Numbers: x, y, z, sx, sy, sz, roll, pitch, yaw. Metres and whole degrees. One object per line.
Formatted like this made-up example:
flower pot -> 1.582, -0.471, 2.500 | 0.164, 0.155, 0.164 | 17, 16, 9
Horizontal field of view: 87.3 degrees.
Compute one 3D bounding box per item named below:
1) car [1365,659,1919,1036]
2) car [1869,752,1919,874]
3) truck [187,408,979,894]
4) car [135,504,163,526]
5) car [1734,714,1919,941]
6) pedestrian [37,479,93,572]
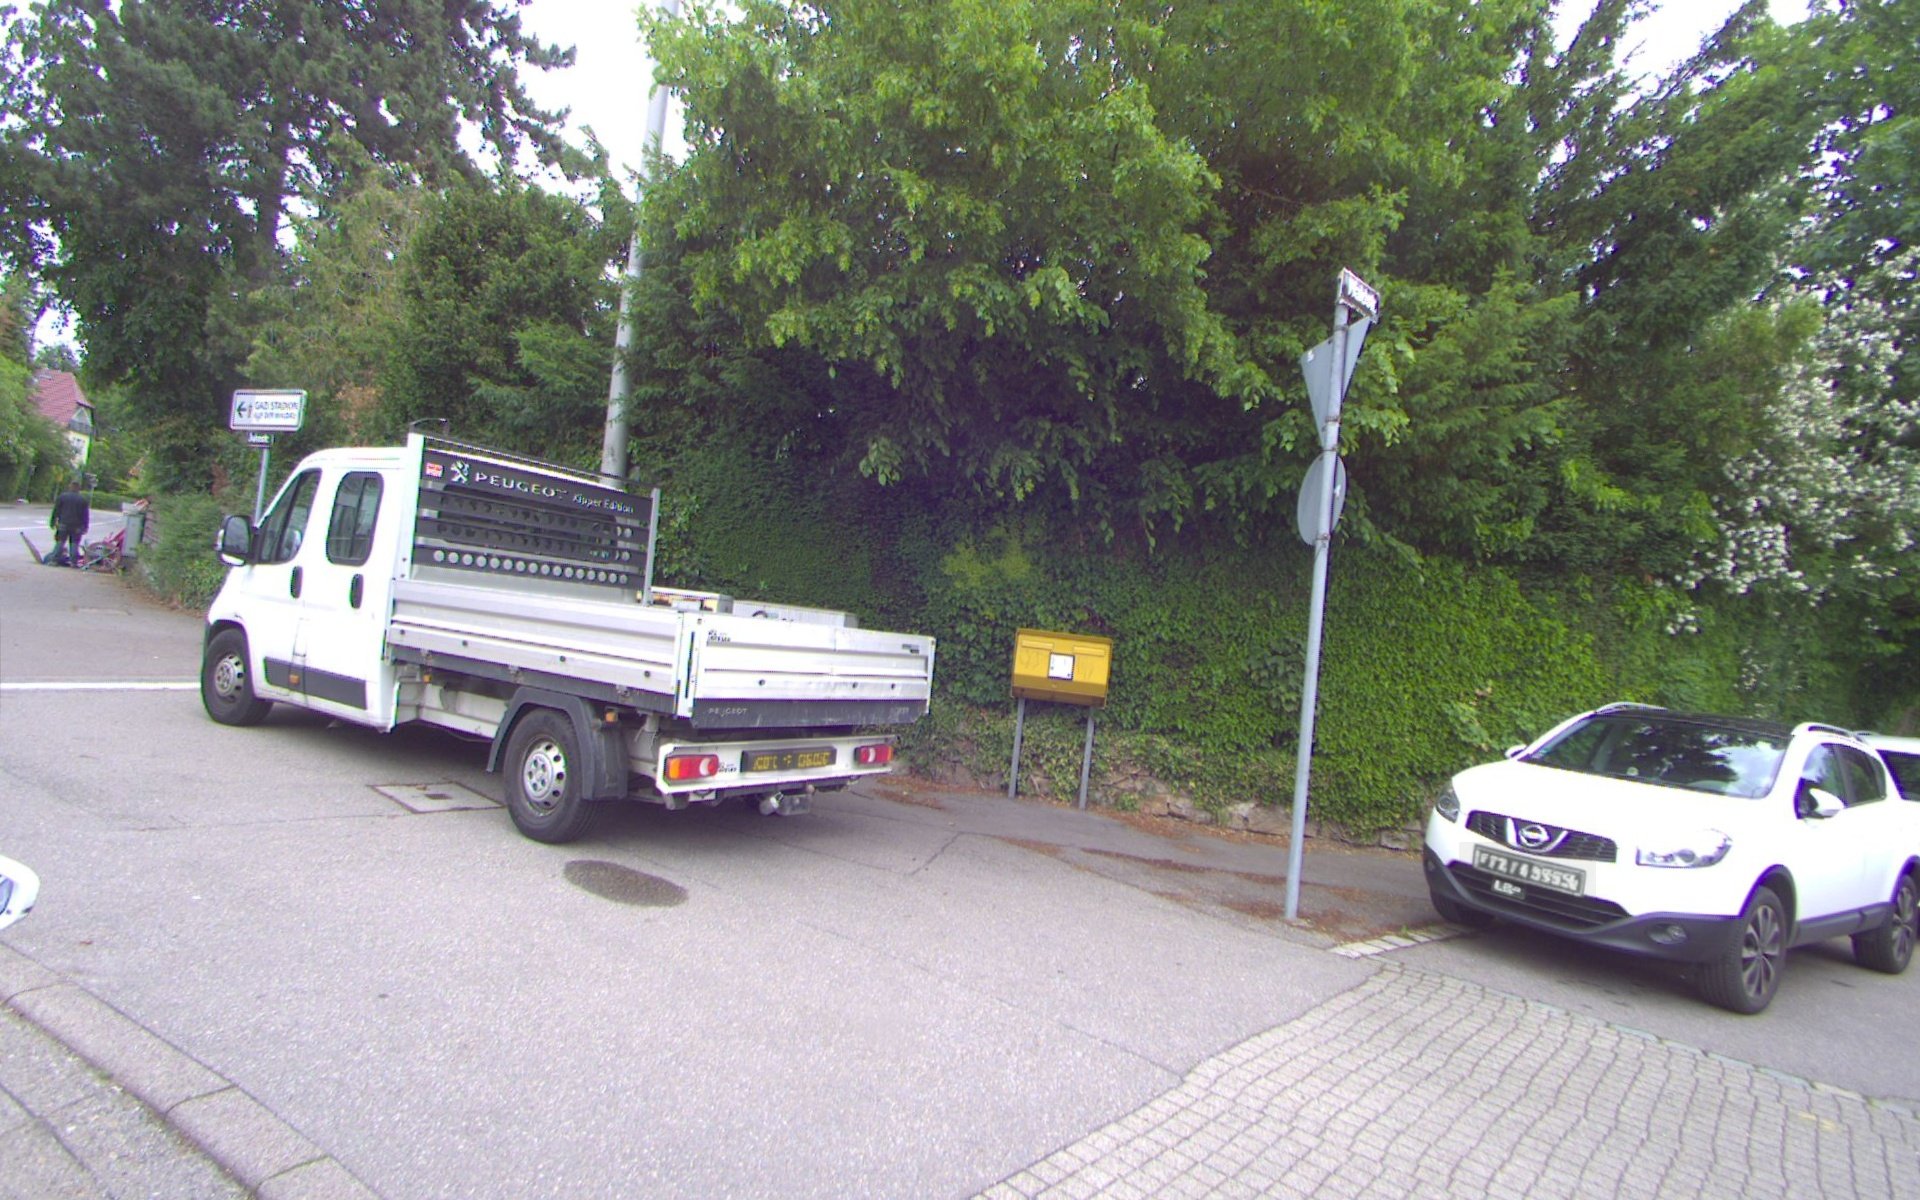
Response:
car -> 4.767, 1.475, 6.657 | 4.098, 1.641, 1.783 | 9, -2, -34
car -> 13.852, 2.950, 13.471 | 4.040, 1.440, 1.781 | 8, -2, -38
truck -> -2.933, 0.089, 7.163 | 5.631, 2.270, 2.211 | 6, -2, 34
car -> -76.301, -8.000, 94.731 | 1.798, 1.775, 4.441 | 7, 0, -37
car -> 9.046, 2.122, 9.470 | 4.041, 1.641, 1.781 | 9, -3, -38
pedestrian -> -19.618, -1.621, 22.058 | 0.549, 1.929, 0.597 | 7, -1, 32
